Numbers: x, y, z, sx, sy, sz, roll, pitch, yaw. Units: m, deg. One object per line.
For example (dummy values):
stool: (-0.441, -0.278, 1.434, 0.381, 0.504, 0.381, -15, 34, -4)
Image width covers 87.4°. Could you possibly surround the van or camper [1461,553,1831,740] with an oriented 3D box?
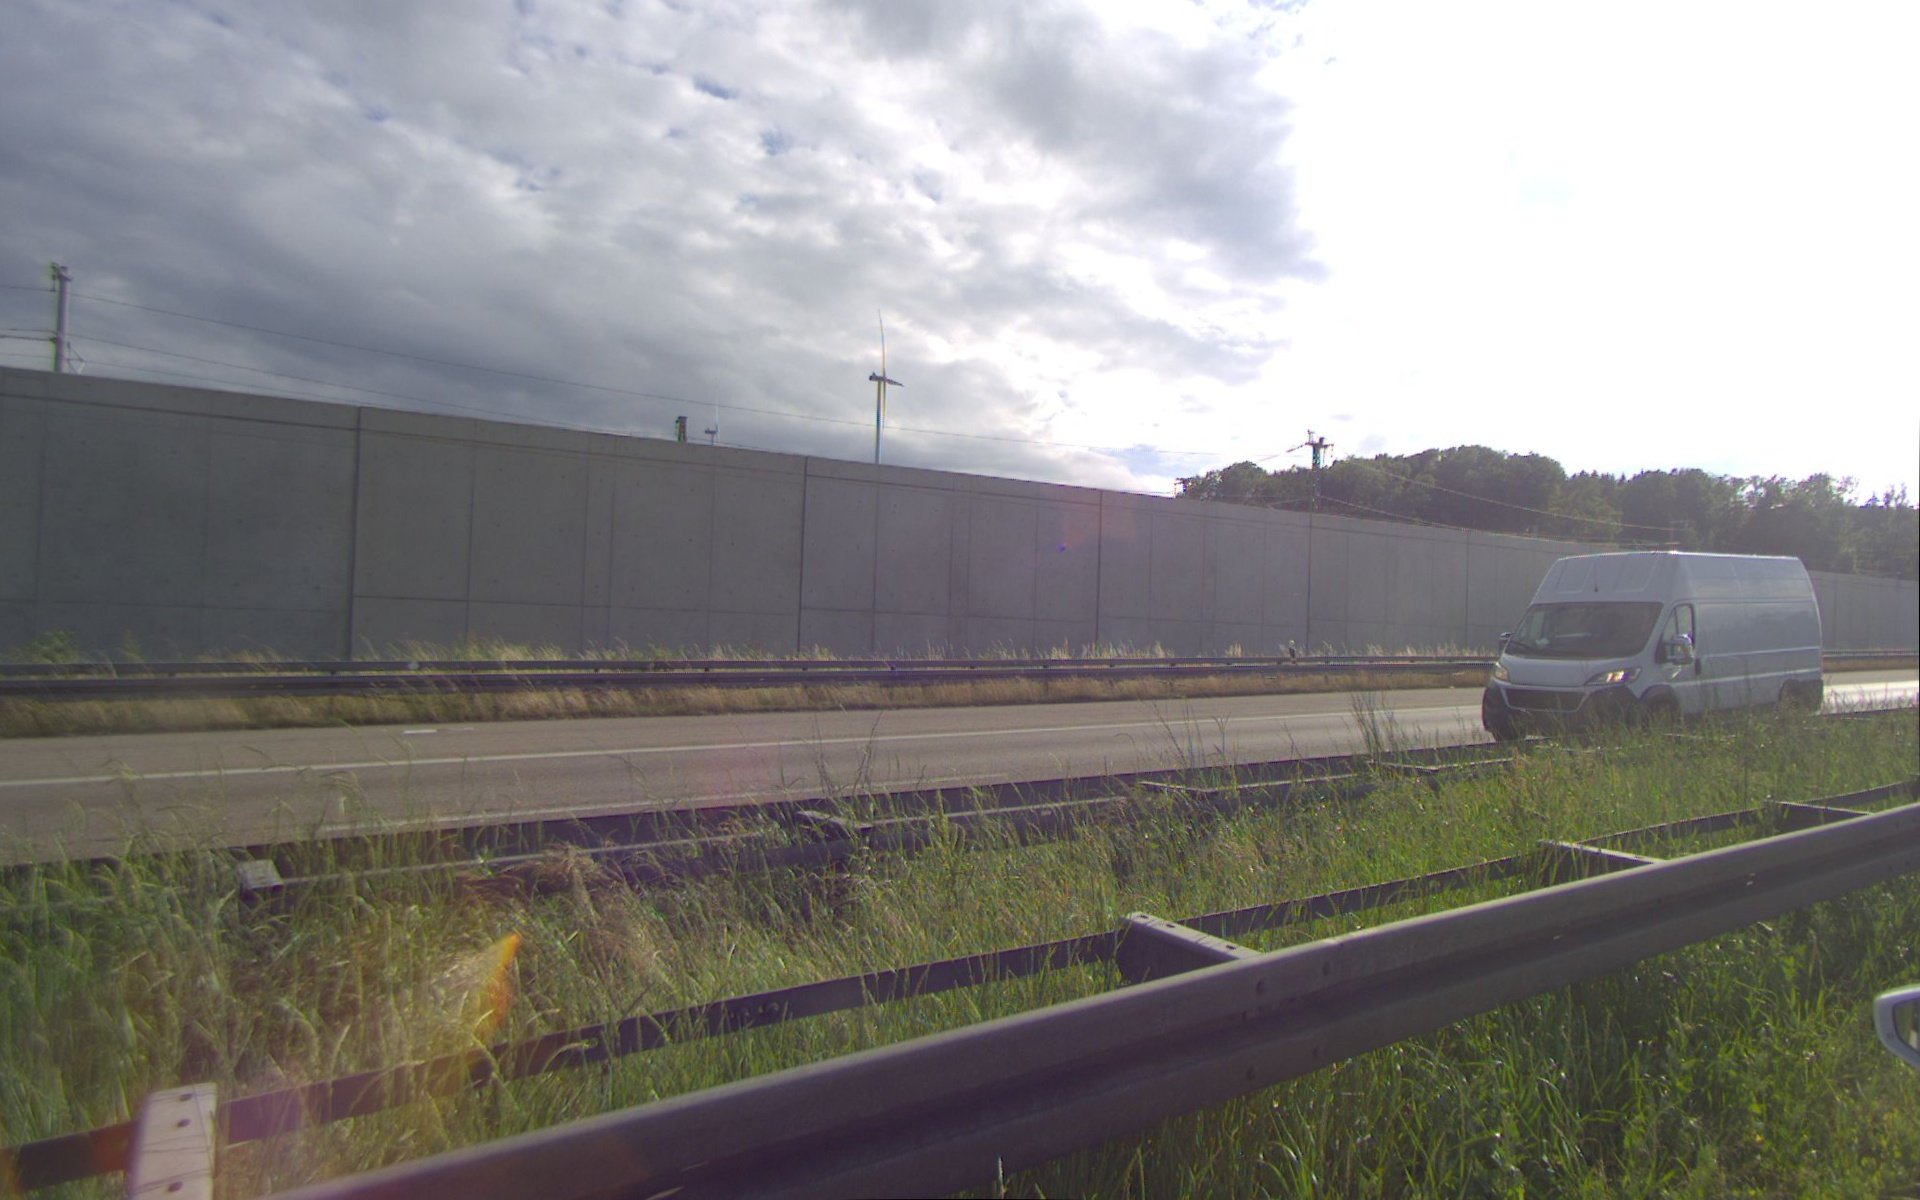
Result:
van or camper: (10.110, 0.647, 14.591, 6.190, 2.234, 2.154, 2, 0, -33)
